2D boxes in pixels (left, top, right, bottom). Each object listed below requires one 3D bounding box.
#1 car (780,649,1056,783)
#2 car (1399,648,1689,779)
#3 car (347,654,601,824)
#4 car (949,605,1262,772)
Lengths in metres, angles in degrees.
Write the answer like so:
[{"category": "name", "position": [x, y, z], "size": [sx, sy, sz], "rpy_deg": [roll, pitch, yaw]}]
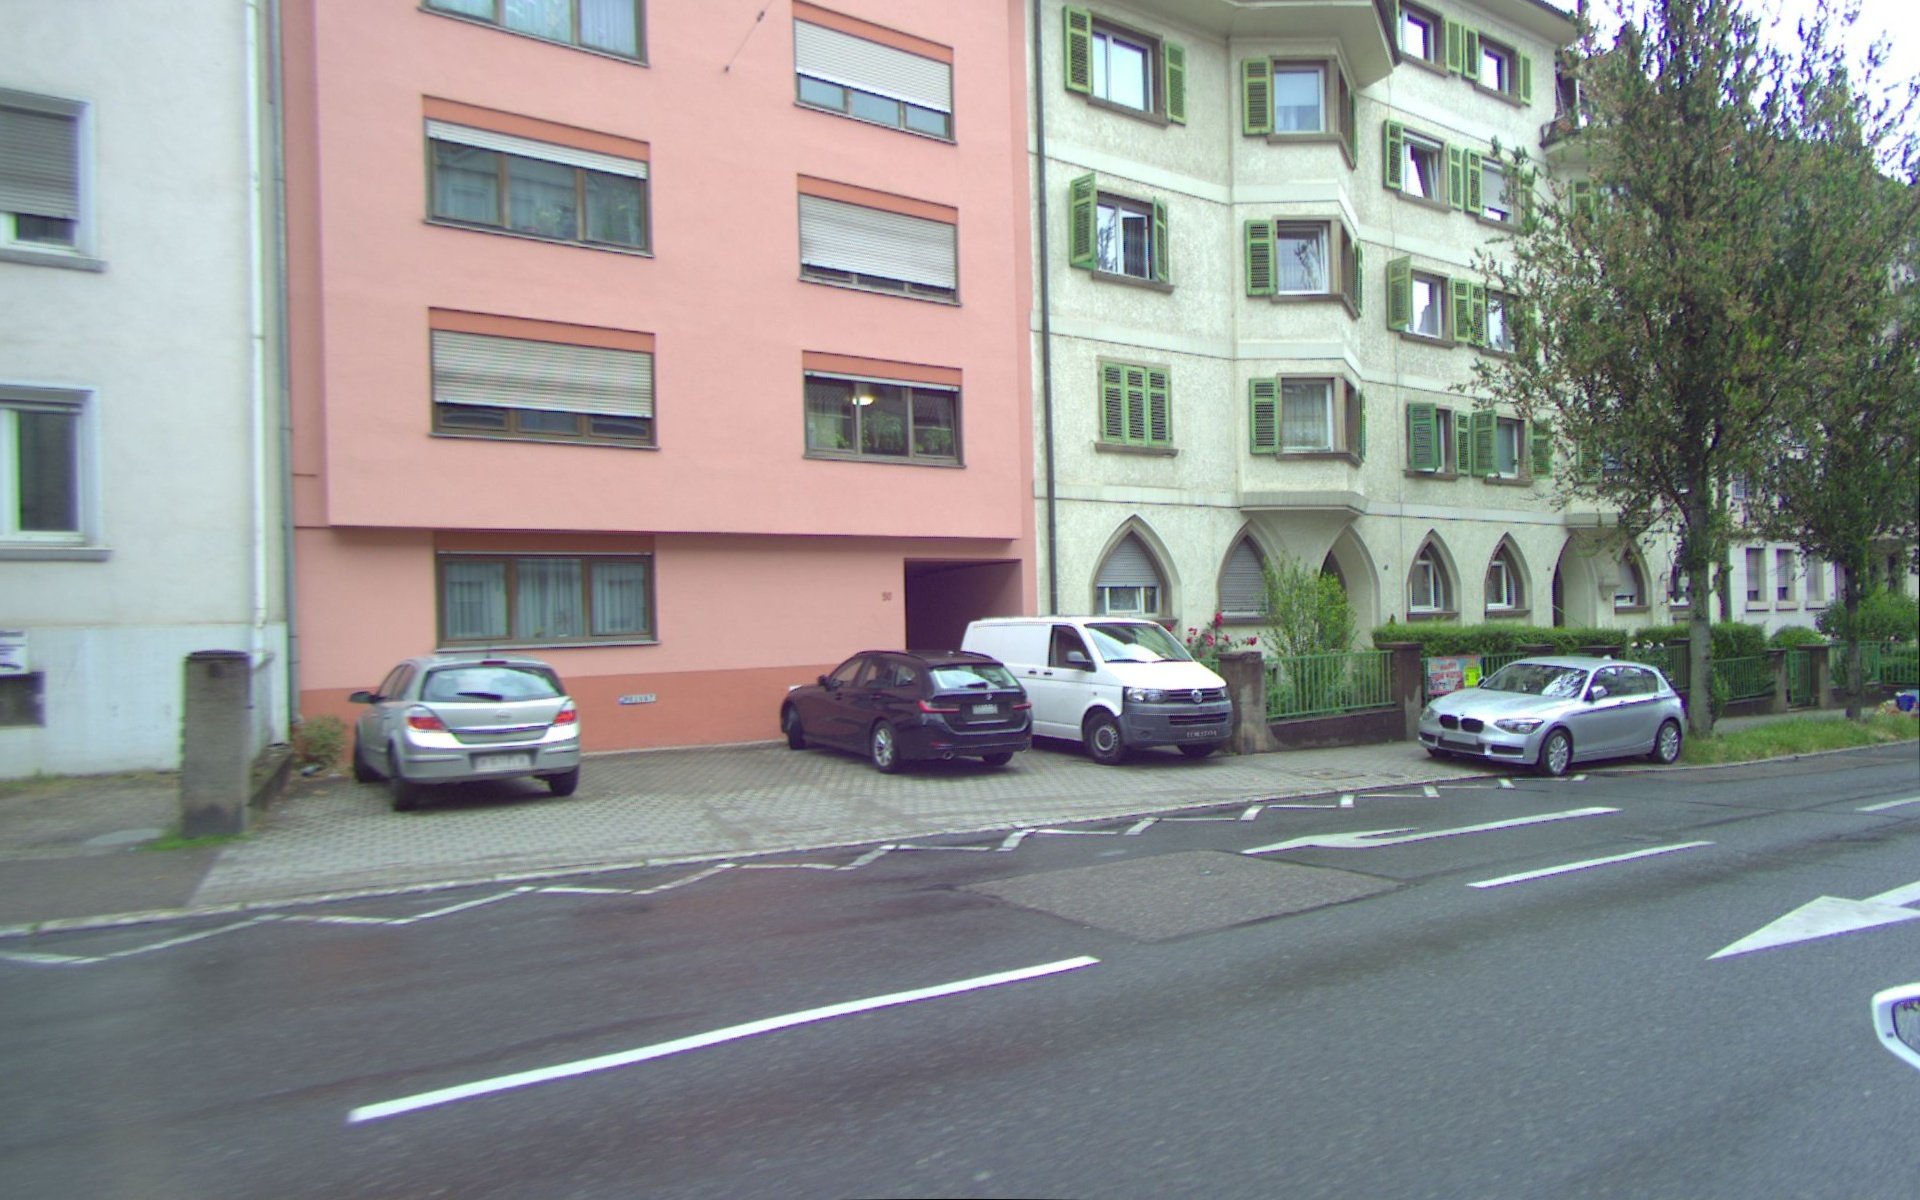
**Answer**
[{"category": "car", "position": [-0.753, 1.395, 13.464], "size": [1.772, 1.470, 4.408], "rpy_deg": [2, -3, -32]}, {"category": "car", "position": [8.150, 1.477, 13.960], "size": [3.941, 1.503, 1.718], "rpy_deg": [2, 0, -30]}, {"category": "car", "position": [-5.400, 1.328, 10.911], "size": [1.776, 1.476, 3.854], "rpy_deg": [2, -3, -37]}, {"category": "car", "position": [1.874, 1.177, 14.668], "size": [2.024, 1.999, 4.808], "rpy_deg": [1, -3, -30]}]
